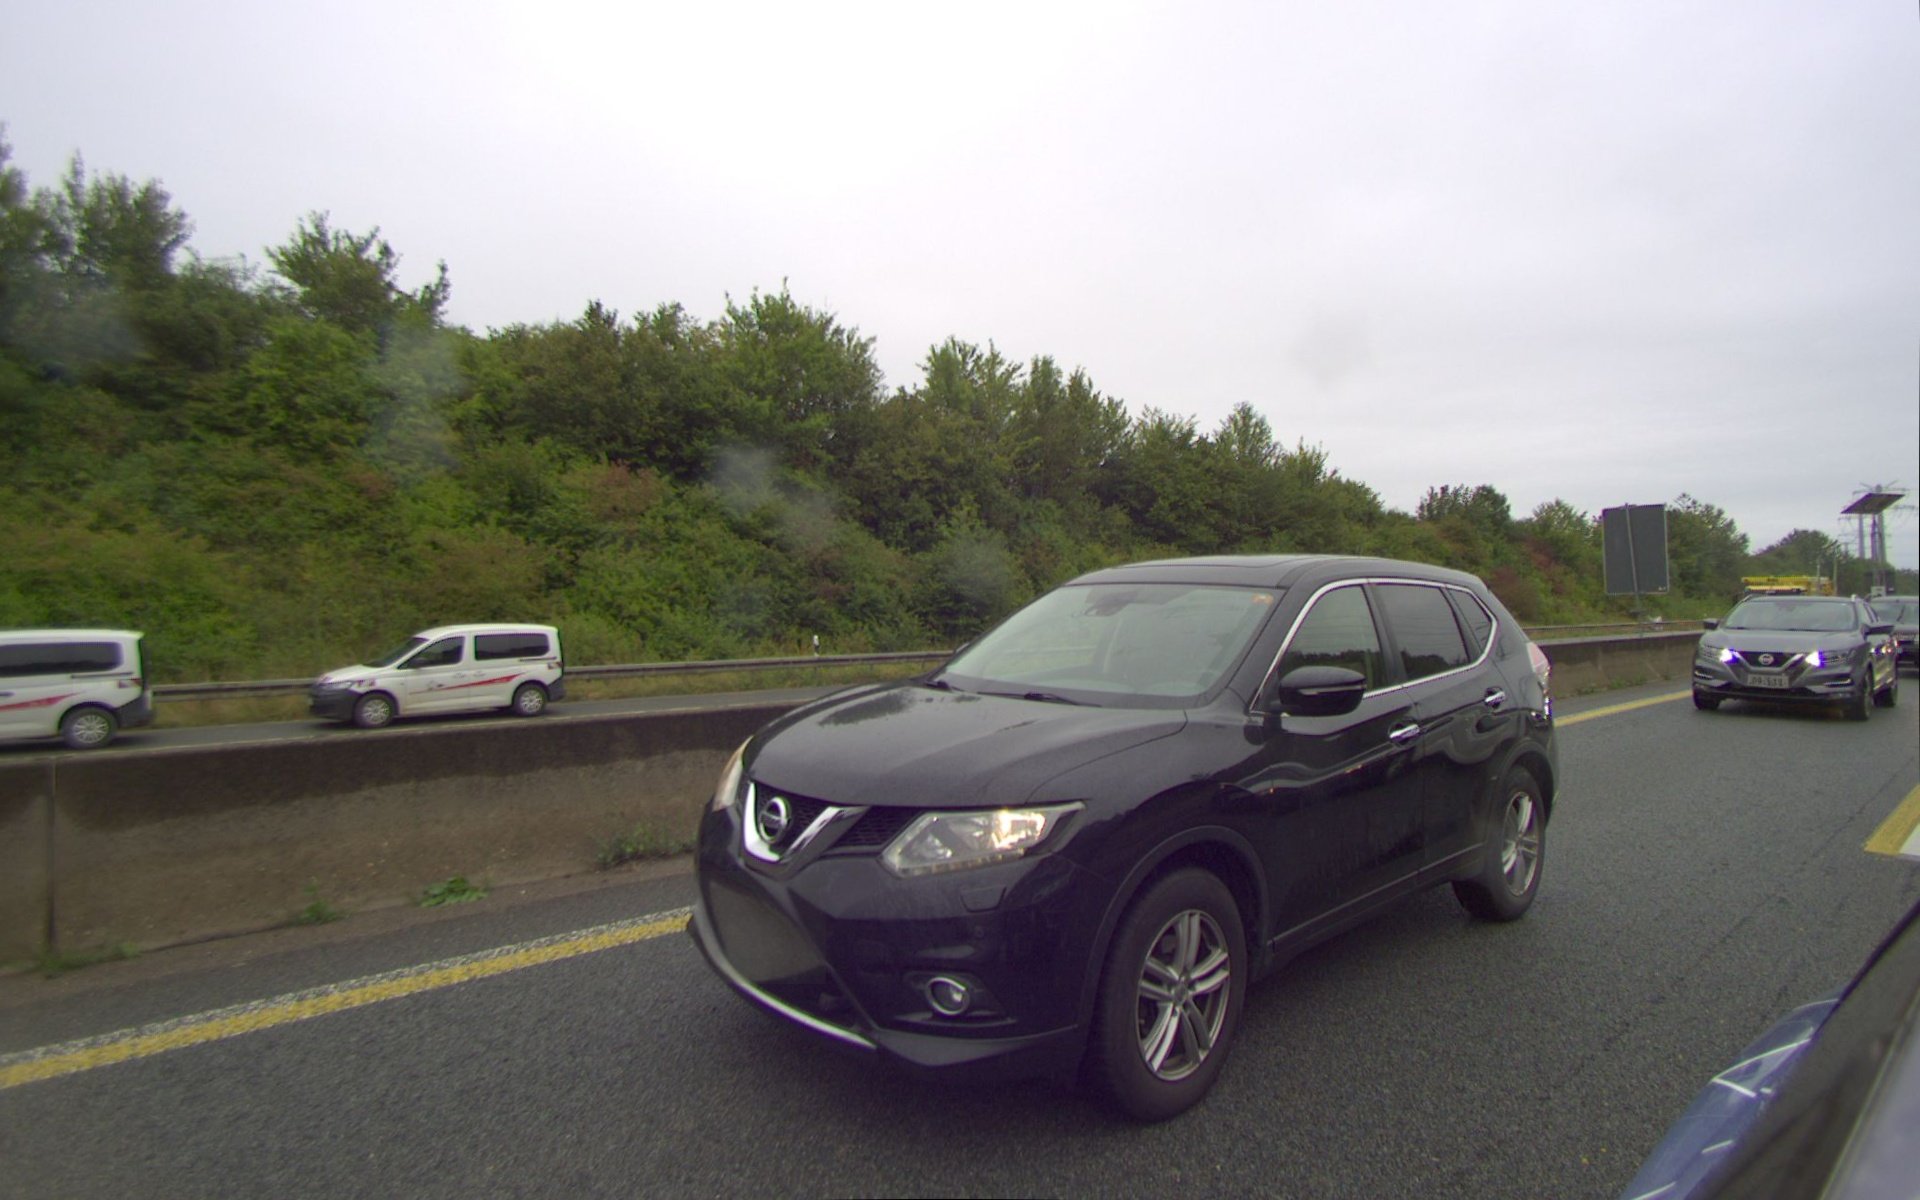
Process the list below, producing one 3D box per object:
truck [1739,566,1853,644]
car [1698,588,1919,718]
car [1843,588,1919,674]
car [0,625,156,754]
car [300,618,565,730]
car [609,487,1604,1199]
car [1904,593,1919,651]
[{"bbox_3d":[40.865,0.163,49.334,9.406,3.467,2.618,-1,1,-40],"label":"truck"},{"bbox_3d":[11.644,0.590,13.796,4.053,1.509,1.782,-1,1,-42],"label":"car"},{"bbox_3d":[19.540,0.567,20.708,4.053,1.618,1.782,-1,1,-42],"label":"car"},{"bbox_3d":[-14.840,1.353,15.239,4.195,1.780,1.731,-1,1,-42],"label":"car"},{"bbox_3d":[-10.052,1.311,19.487,4.256,1.792,1.731,-1,1,-42],"label":"car"},{"bbox_3d":[1.052,0.569,4.461,4.562,1.696,1.892,-1,1,-42],"label":"car"},{"bbox_3d":[27.332,0.588,27.757,4.053,1.509,1.782,-1,1,-42],"label":"car"}]
